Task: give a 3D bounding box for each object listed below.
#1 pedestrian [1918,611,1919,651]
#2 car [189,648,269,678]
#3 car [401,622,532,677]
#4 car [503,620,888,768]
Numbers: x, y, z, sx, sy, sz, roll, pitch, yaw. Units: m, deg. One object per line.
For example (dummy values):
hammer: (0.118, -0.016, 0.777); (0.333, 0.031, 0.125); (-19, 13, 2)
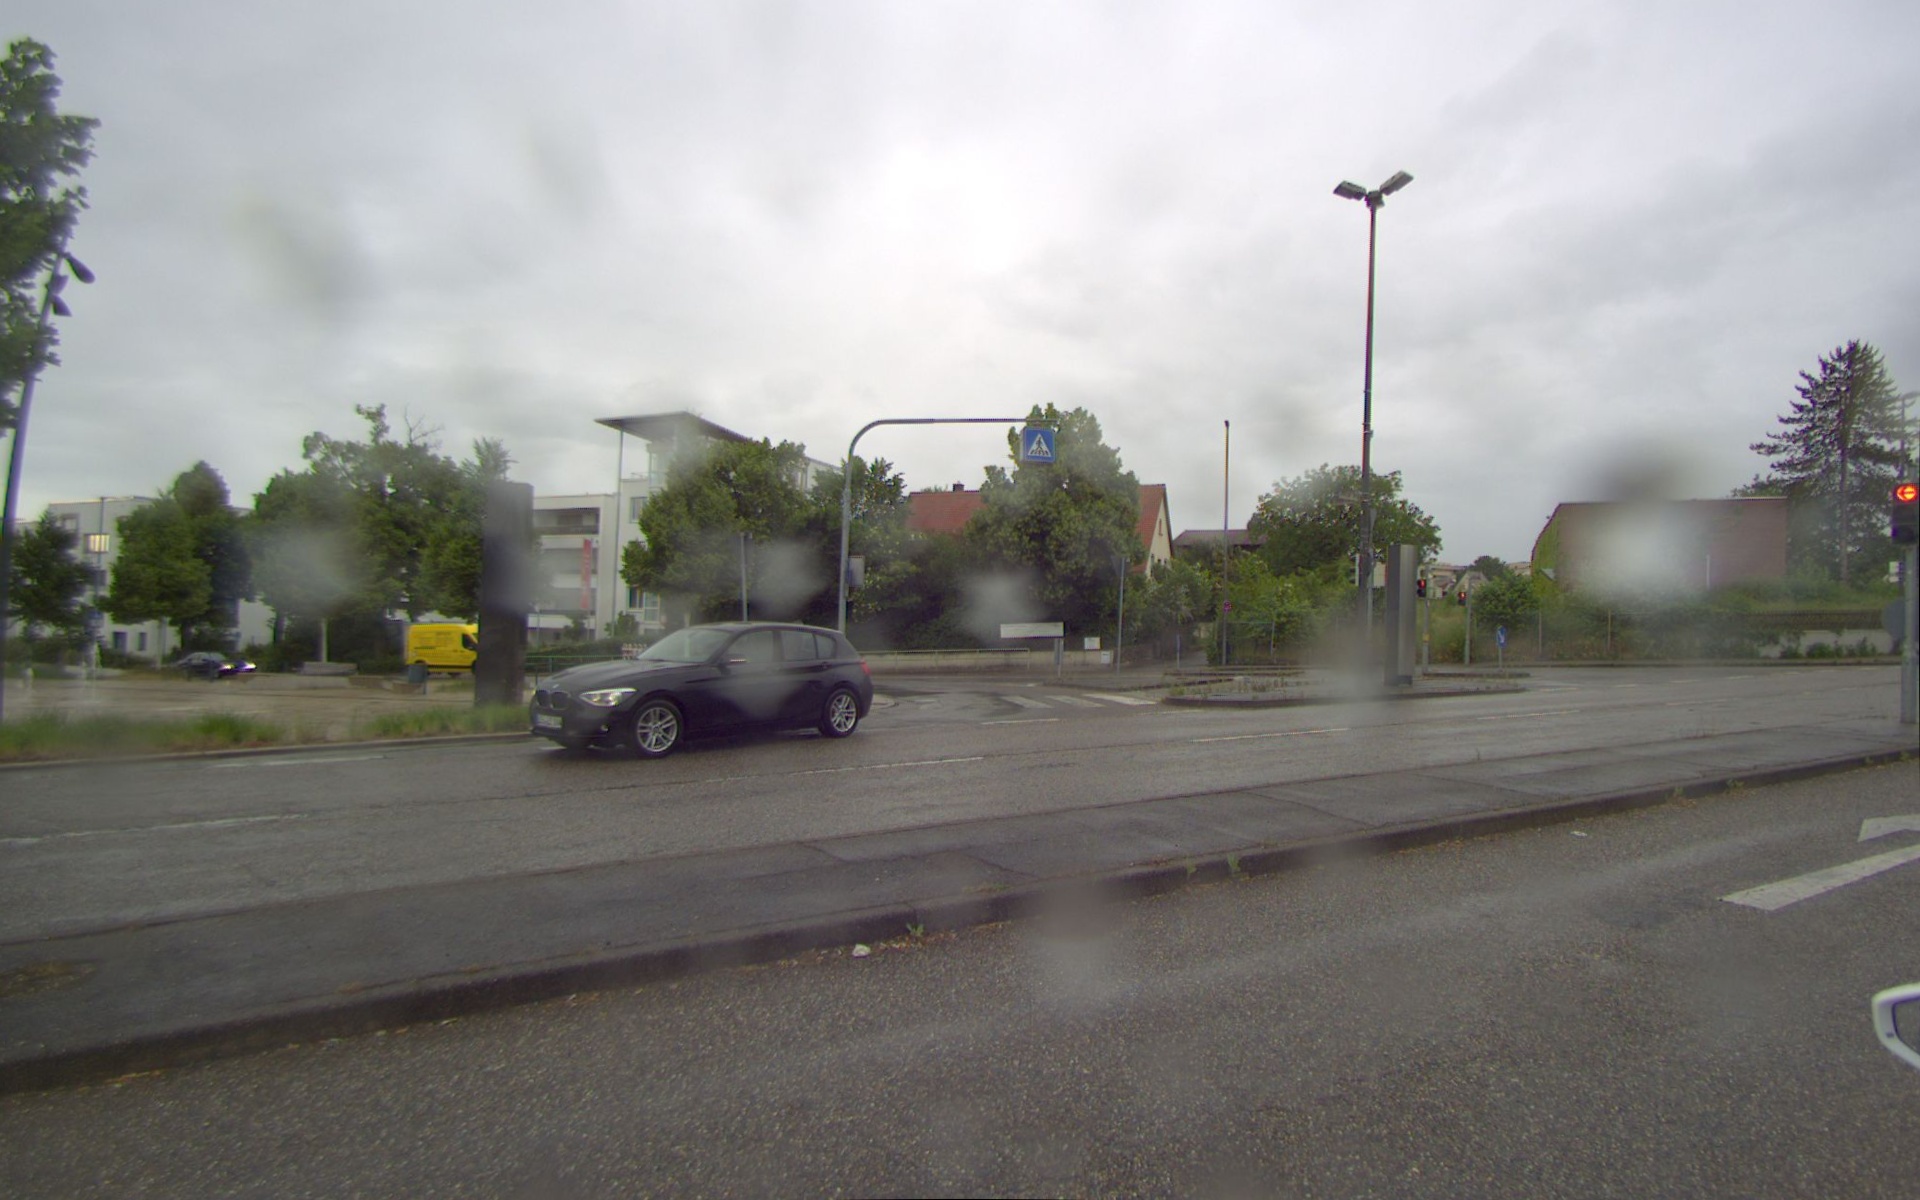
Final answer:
pedestrian: (38.502, 1.233, 39.669); (0.816, 1.588, 0.756); (1, -3, -31)
car: (-39.076, 3.360, 53.710); (3.929, 1.559, 1.997); (-2, -3, 29)
car: (-22.625, 2.296, 46.021); (5.802, 2.441, 2.000); (-2, -3, 22)
car: (-2.888, 0.978, 11.855); (1.762, 1.408, 4.266); (-1, -2, 36)
